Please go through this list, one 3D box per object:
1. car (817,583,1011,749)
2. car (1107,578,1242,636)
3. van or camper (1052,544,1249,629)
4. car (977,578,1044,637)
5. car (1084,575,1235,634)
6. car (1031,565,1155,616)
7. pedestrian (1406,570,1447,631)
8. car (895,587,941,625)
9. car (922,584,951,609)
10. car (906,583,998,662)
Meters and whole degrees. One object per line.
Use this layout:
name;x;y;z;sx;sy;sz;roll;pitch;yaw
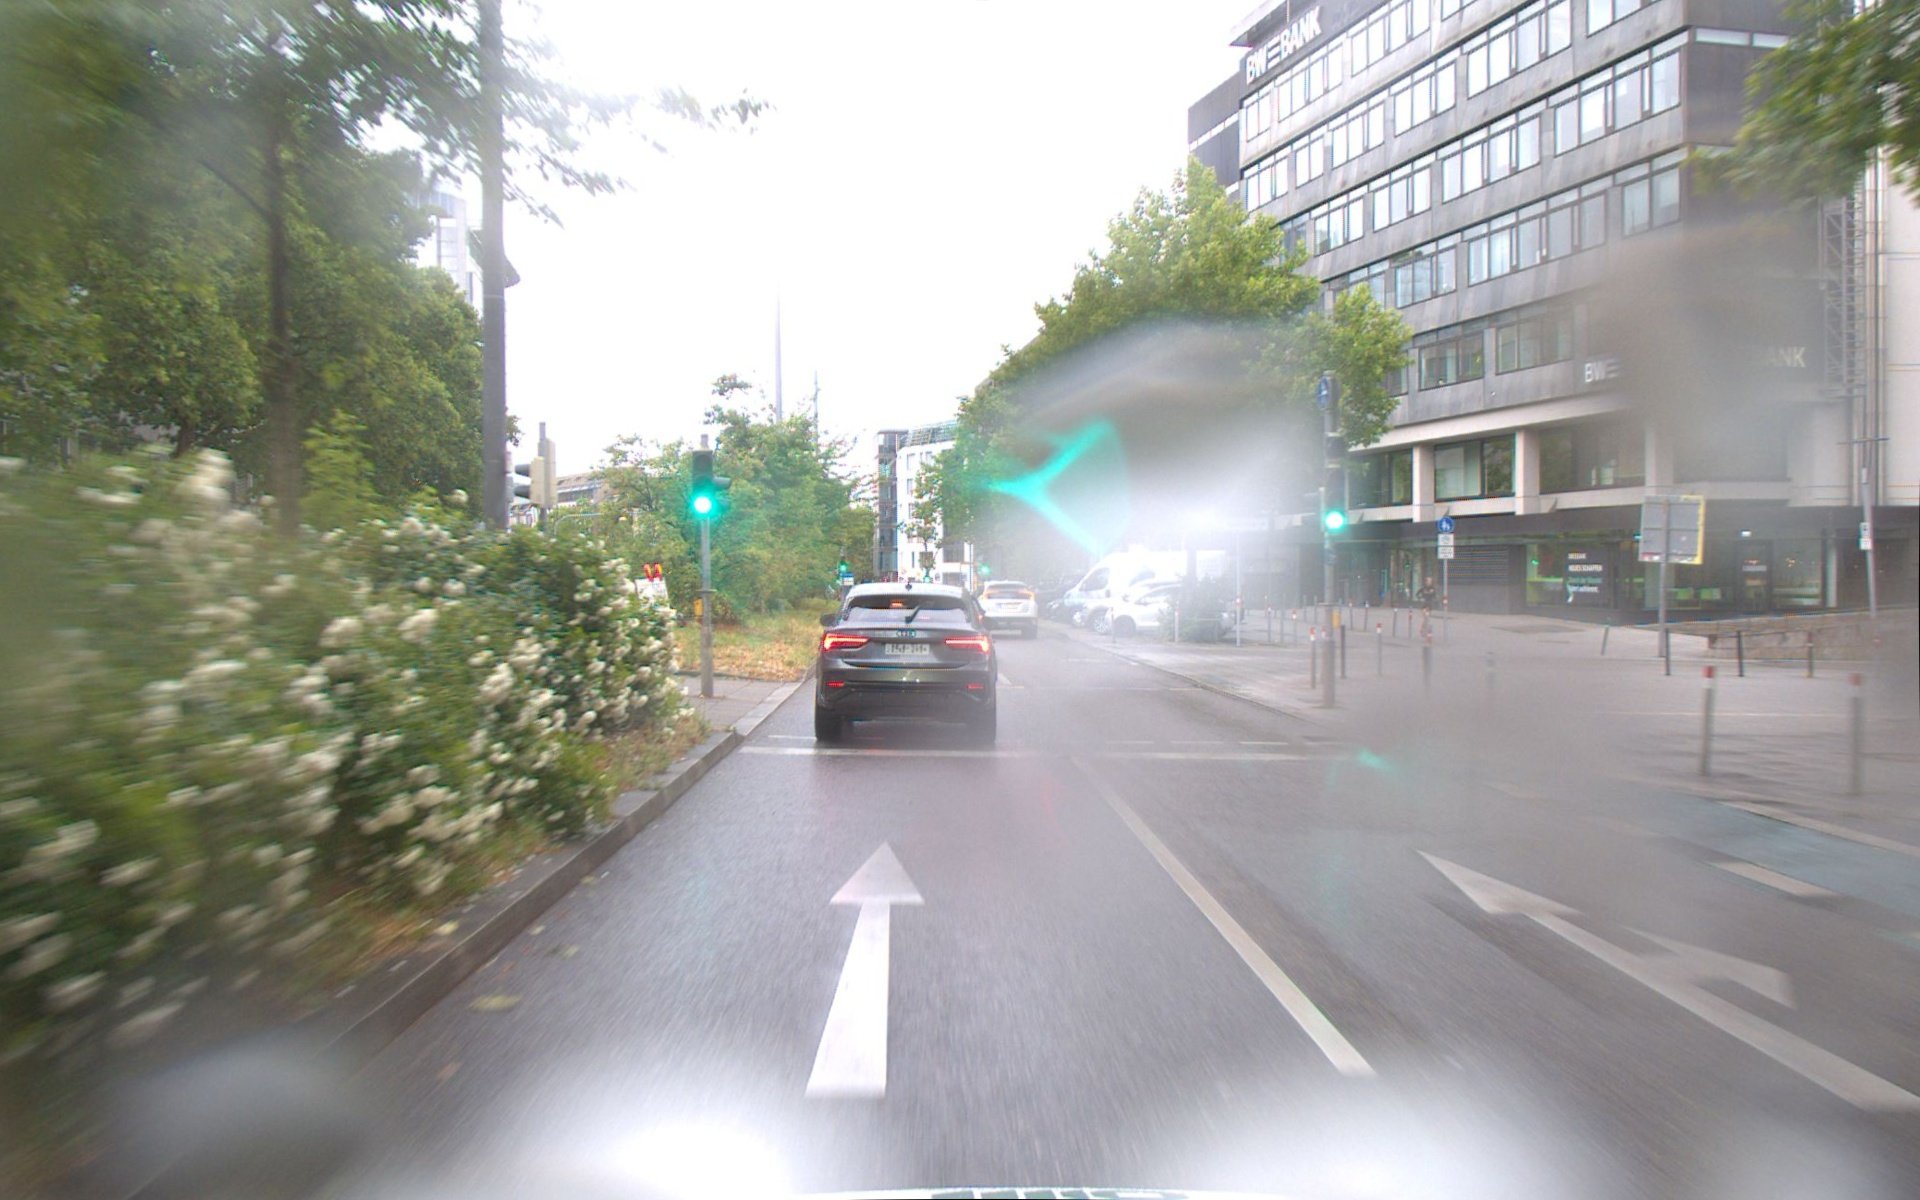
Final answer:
car;-0.500;0.611;17.517;1.812;1.550;4.037;0;0;-2
car;6.110;0.188;47.082;3.572;1.574;1.716;1;0;18
van or camper;6.093;-0.422;53.041;5.946;2.603;2.103;0;0;26
car;1.475;0.205;49.580;1.812;1.698;4.037;0;0;-1
car;5.999;0.106;49.723;4.171;1.696;1.817;1;0;25
car;5.619;-0.392;69.863;4.838;2.013;1.929;-1;0;24
pedestrian;13.518;0.016;47.927;0.789;1.726;1.186;1;0;-4
car;-1.722;0.229;68.303;1.812;1.550;4.037;0;0;-1
car;-1.502;-0.204;104.907;1.812;1.550;4.037;0;0;-1
car;-0.198;0.435;34.811;1.812;1.550;4.037;0;0;-1
